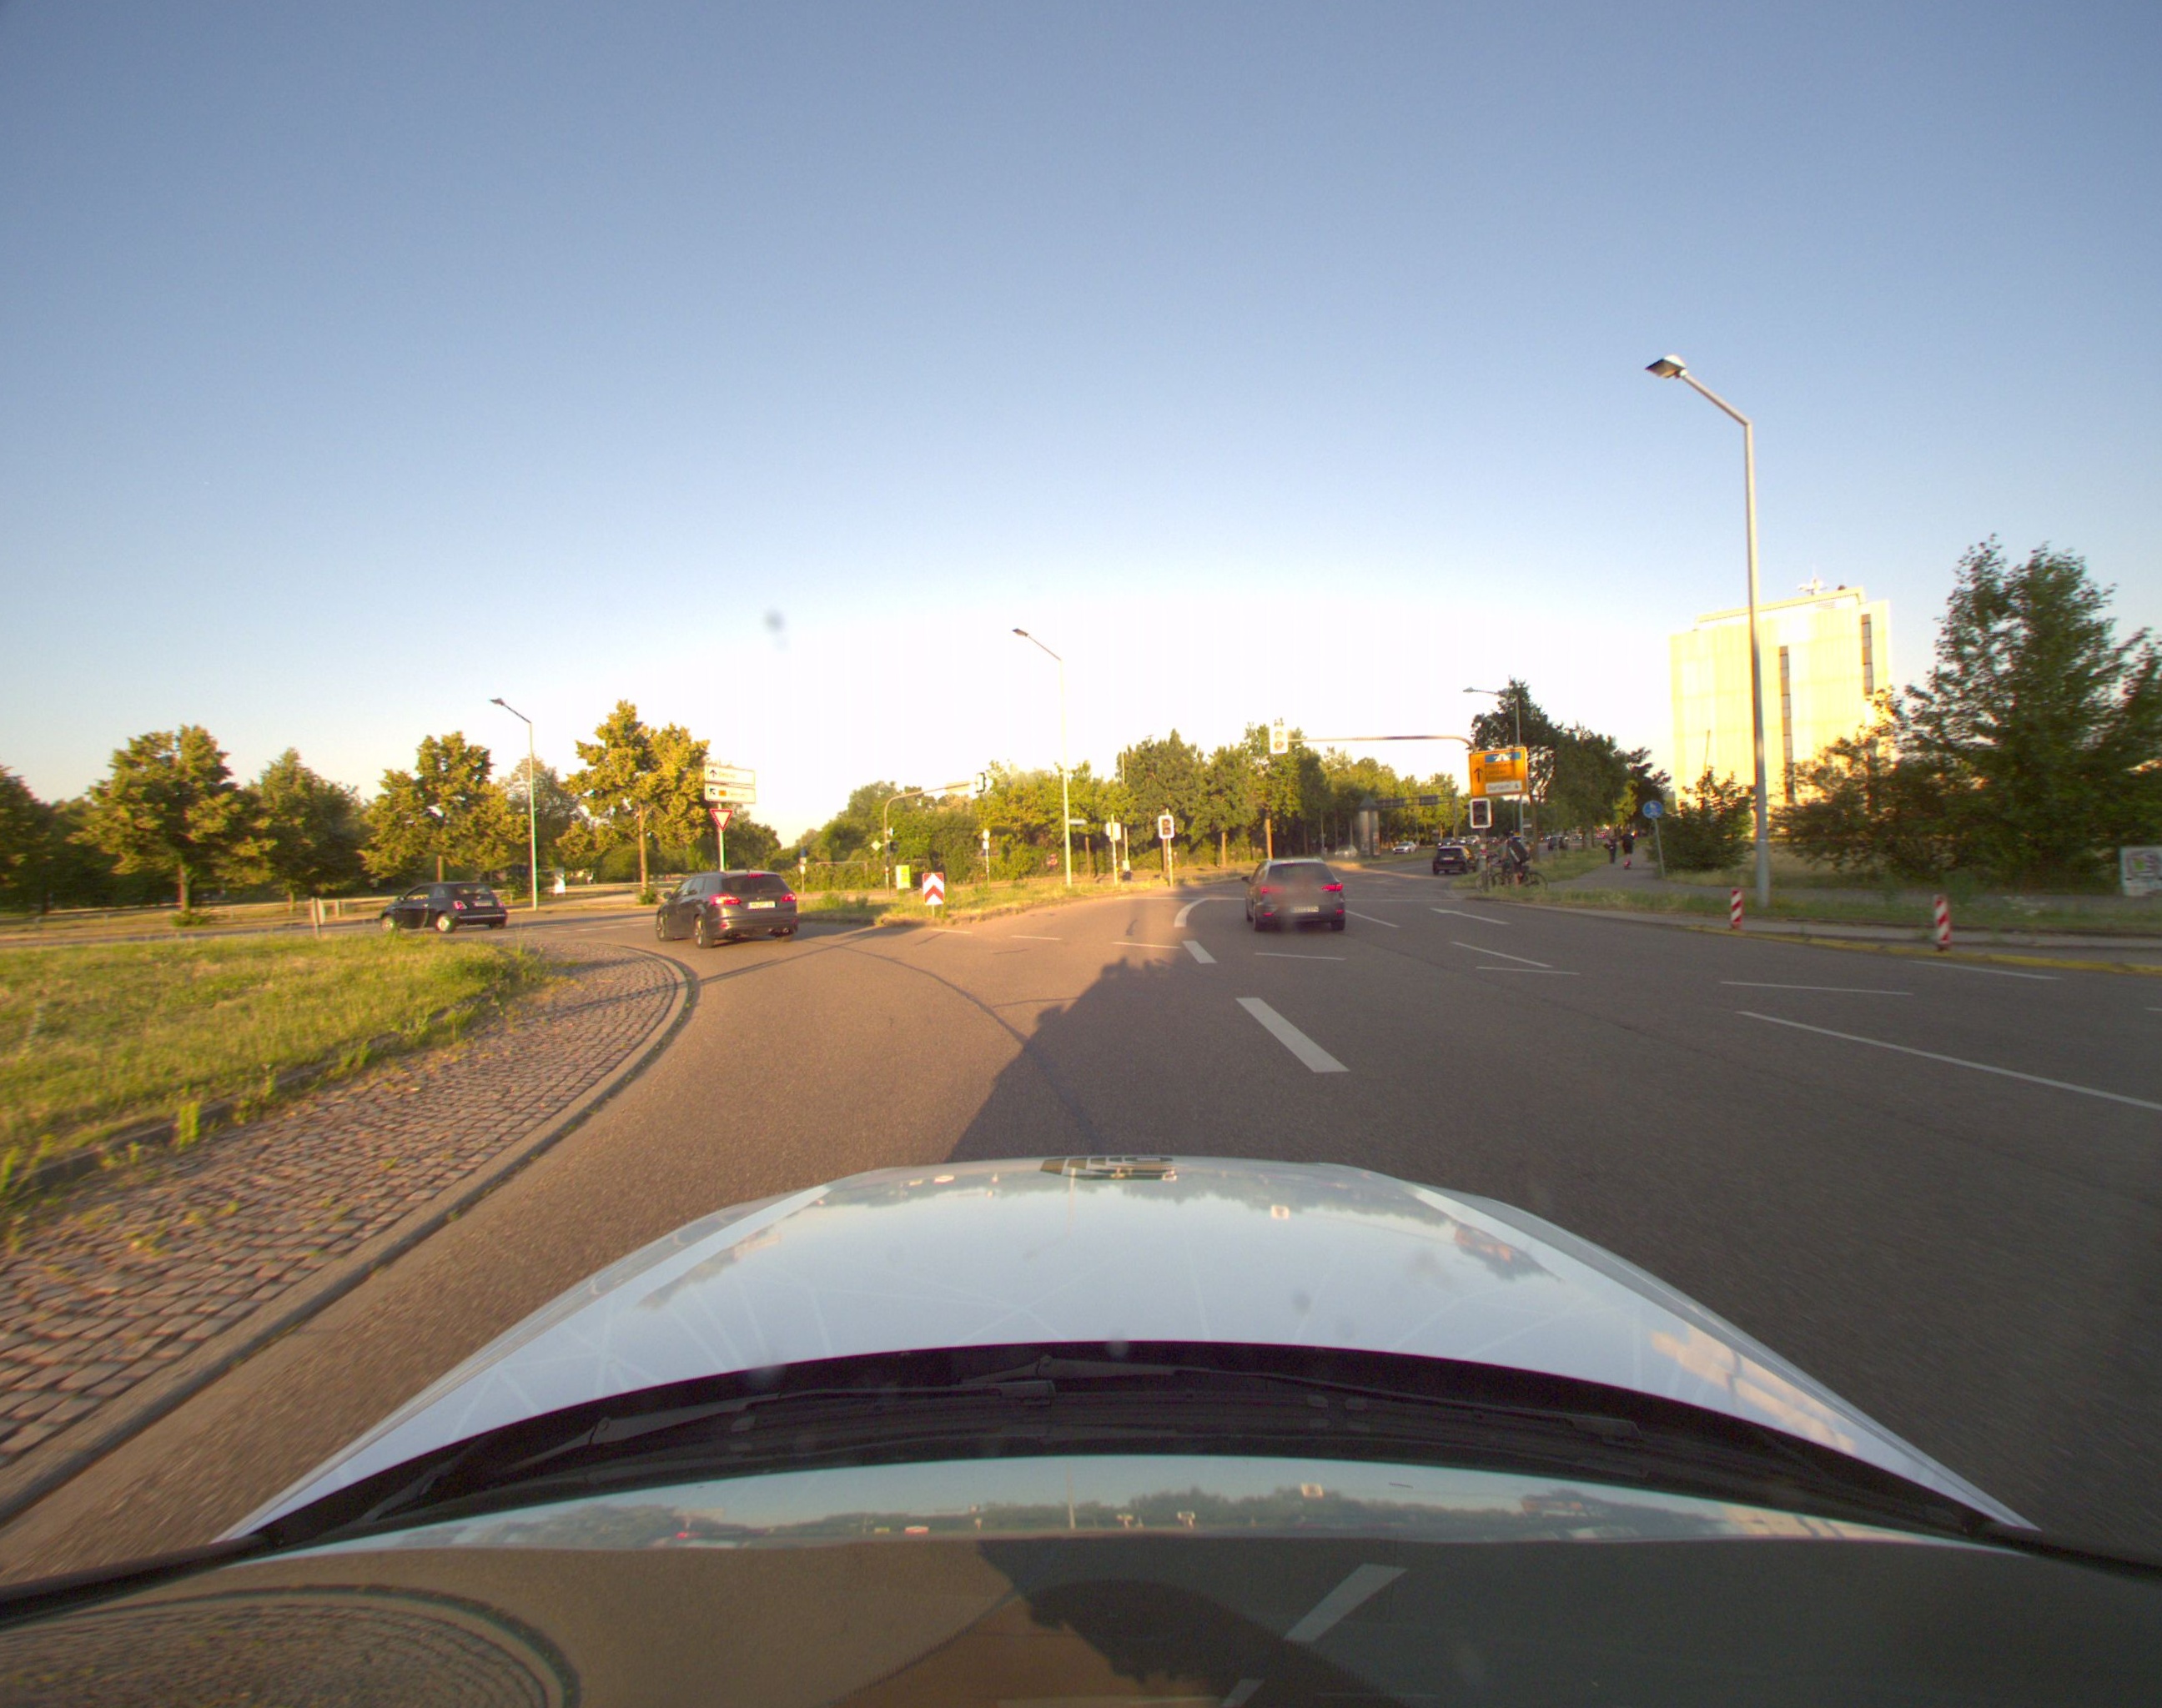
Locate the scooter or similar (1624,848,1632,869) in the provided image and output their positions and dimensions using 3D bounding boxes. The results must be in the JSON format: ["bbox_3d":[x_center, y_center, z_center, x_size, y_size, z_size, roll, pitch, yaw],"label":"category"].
[{"bbox_3d":[25.056,0.192,37.311,0.244,0.914,1.046,-2,0,36],"label":"scooter or similar"}]

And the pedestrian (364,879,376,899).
[{"bbox_3d":[-57.049,2.817,65.335,0.526,1.626,0.584,-3,-1,38],"label":"pedestrian"}]

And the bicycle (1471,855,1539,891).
[{"bbox_3d":[14.261,0.646,27.399,1.903,1.085,0.459,-5,-2,34],"label":"bicycle"}]

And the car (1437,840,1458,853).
[{"bbox_3d":[50.782,-1.081,112.834,1.780,1.633,4.484,-4,-1,36],"label":"car"}]

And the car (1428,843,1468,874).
[{"bbox_3d":[20.114,0.239,44.725,1.796,1.525,4.157,-2,1,22],"label":"car"}]

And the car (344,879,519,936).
[{"bbox_3d":[-18.944,1.554,23.817,4.093,1.446,1.758,-2,0,12],"label":"car"}]

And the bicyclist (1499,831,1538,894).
[{"bbox_3d":[13.664,0.268,25.436,0.898,1.897,0.645,-4,-1,33],"label":"bicyclist"}]

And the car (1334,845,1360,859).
[{"bbox_3d":[28.966,-0.207,88.554,1.534,1.443,3.509,-4,-1,39],"label":"car"}]

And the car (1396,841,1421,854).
[{"bbox_3d":[38.092,-0.772,94.663,1.705,1.448,4.579,-2,0,34],"label":"car"}]

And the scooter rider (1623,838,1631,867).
[{"bbox_3d":[25.013,-0.070,37.299,0.261,1.339,0.409,-2,0,36],"label":"scooter rider"}]

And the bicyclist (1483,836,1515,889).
[{"bbox_3d":[14.126,0.284,27.497,0.760,1.702,0.645,-5,-2,33],"label":"bicyclist"}]

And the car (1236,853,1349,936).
[{"bbox_3d":[4.257,0.742,16.957,1.736,1.424,4.143,-2,0,7],"label":"car"}]

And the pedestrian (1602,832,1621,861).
[{"bbox_3d":[29.465,-0.410,45.201,0.786,1.550,0.571,-3,-1,36],"label":"pedestrian"}]

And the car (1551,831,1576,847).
[{"bbox_3d":[49.769,-1.556,83.945,1.887,1.618,4.026,-2,0,34],"label":"car"}]

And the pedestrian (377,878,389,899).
[{"bbox_3d":[-56.059,2.777,65.399,0.523,1.626,0.624,-3,-1,35],"label":"pedestrian"}]

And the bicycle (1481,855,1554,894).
[{"bbox_3d":[13.653,0.648,25.483,1.903,1.085,0.459,-4,-1,34],"label":"bicycle"}]

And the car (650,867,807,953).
[{"bbox_3d":[-7.354,1.055,16.769,1.761,1.466,4.085,-3,1,-41],"label":"car"}]

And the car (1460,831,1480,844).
[{"bbox_3d":[60.116,-2.543,125.812,1.897,1.754,4.953,-4,-1,34],"label":"car"}]

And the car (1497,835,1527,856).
[{"bbox_3d":[33.170,-0.675,62.576,1.729,1.488,4.161,-2,1,32],"label":"car"}]
